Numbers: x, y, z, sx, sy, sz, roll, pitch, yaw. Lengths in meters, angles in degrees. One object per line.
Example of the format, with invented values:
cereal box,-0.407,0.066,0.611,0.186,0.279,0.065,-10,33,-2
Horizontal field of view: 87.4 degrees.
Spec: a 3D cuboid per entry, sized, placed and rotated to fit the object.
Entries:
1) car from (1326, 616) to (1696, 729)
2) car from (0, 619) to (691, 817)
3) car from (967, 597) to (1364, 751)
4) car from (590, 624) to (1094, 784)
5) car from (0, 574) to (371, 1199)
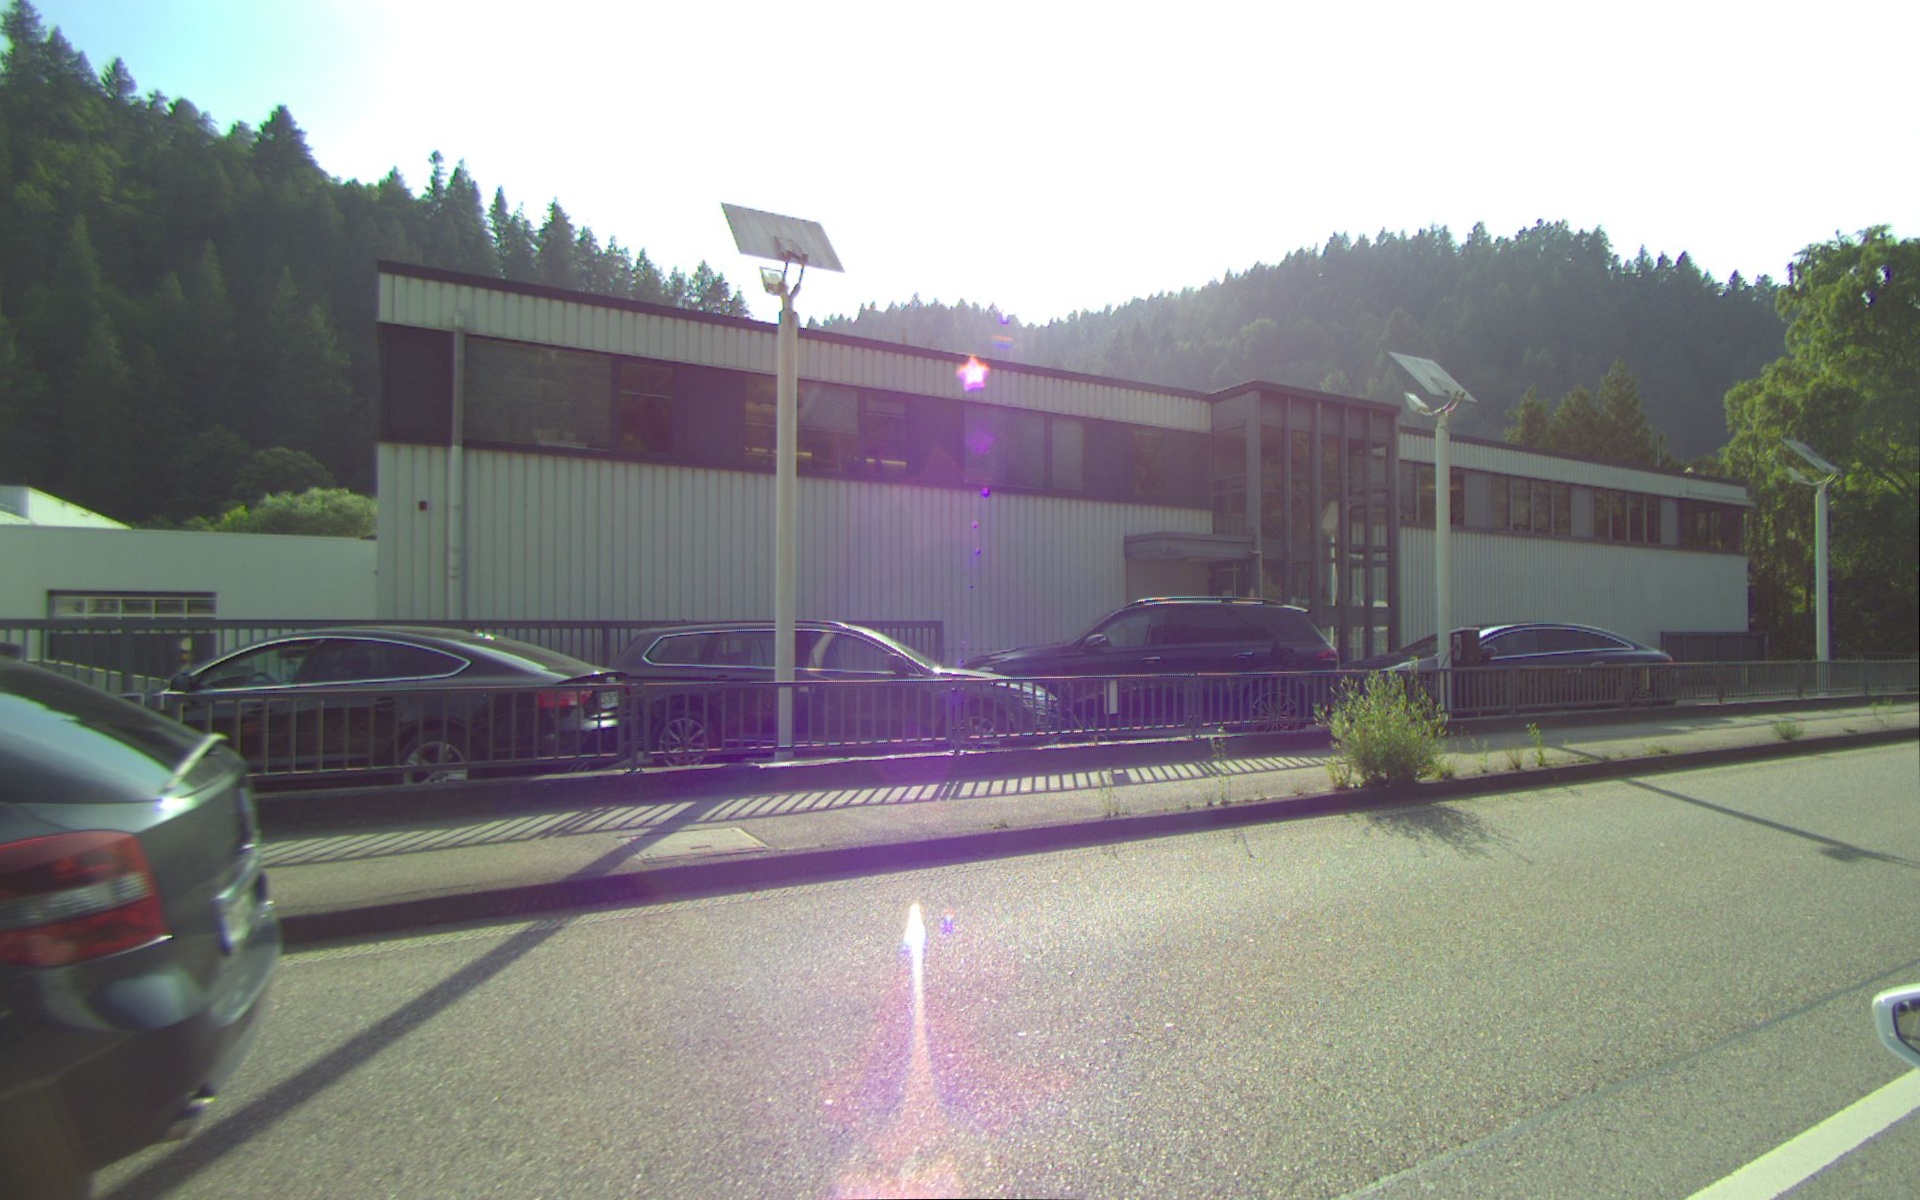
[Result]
car,8.448,1.093,15.665,4.761,1.582,1.999,1,-1,-5
car,-4.697,0.860,7.981,4.641,1.393,1.713,0,-2,0
car,2.452,0.905,12.818,4.596,1.764,2.001,-1,-1,3
car,-1.077,0.983,10.120,4.641,1.458,1.713,0,-2,0
car,-3.474,0.666,1.728,4.196,1.505,1.669,1,0,-30
